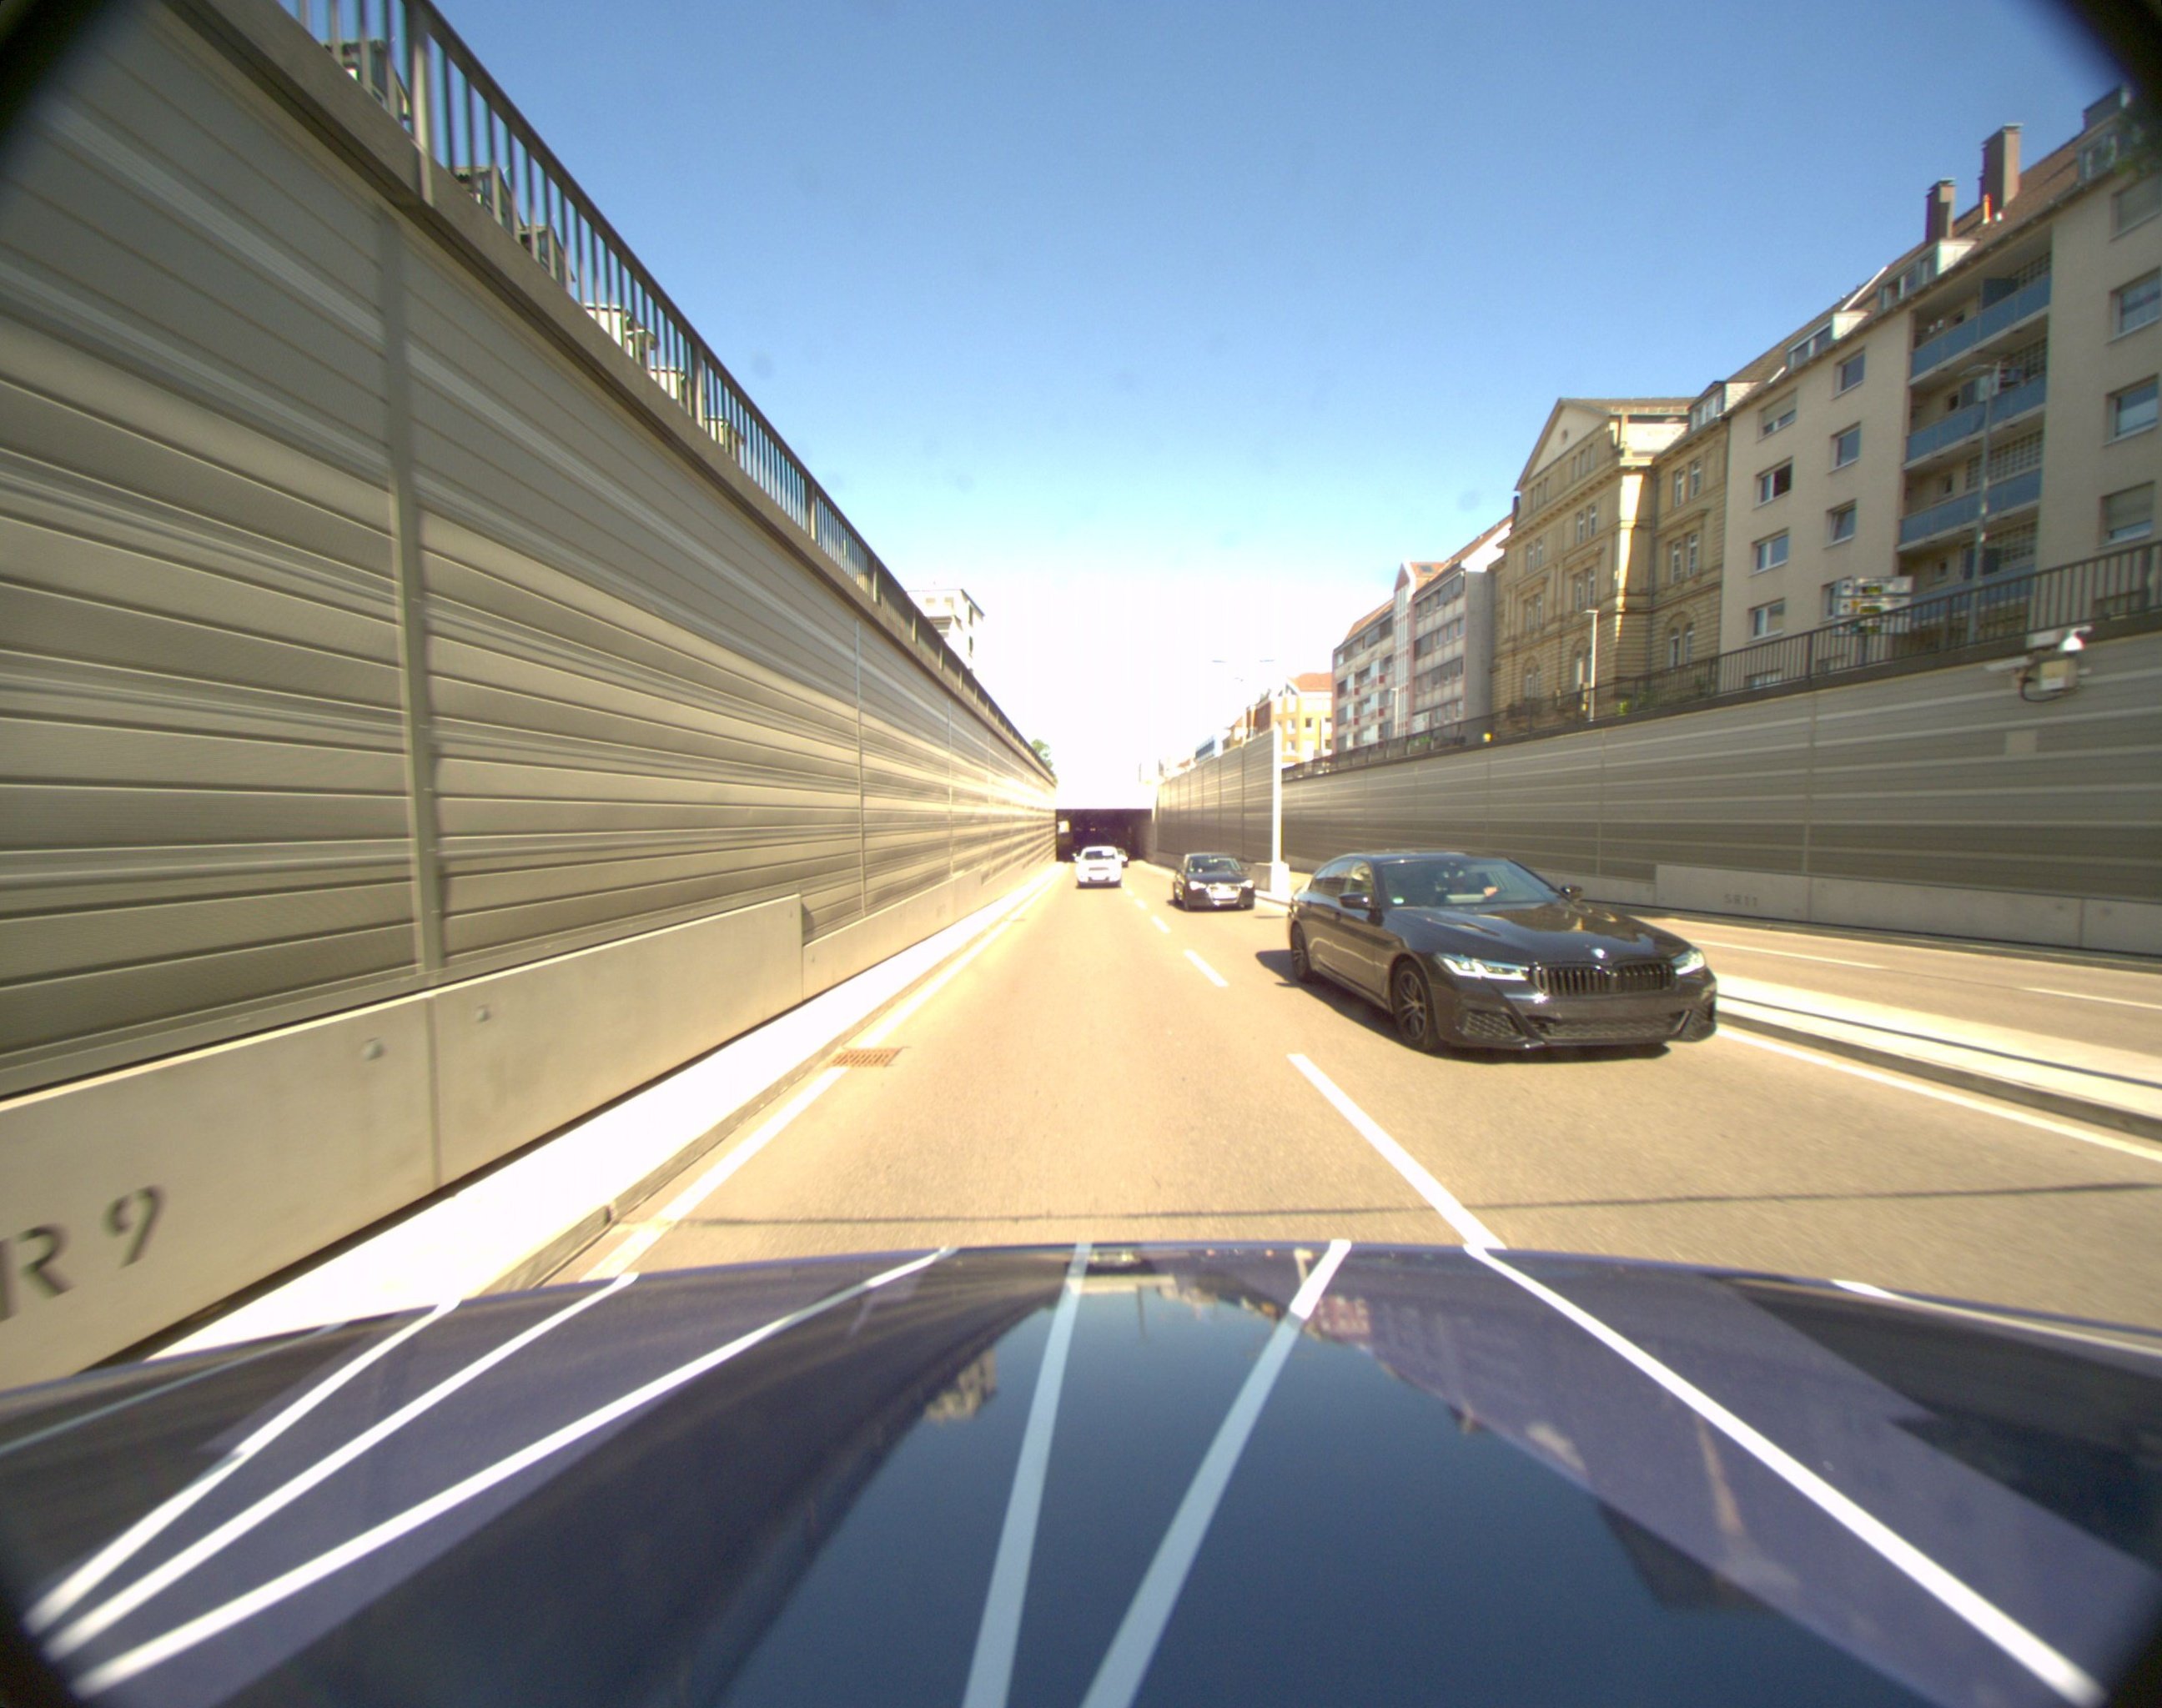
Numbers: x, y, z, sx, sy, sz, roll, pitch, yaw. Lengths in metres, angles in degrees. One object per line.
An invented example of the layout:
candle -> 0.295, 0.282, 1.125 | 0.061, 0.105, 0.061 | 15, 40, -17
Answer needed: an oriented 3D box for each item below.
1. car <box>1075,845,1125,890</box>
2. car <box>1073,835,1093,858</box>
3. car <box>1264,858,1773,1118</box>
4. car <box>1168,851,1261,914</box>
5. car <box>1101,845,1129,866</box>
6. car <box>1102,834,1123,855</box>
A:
car -> 0.750, 0.488, 30.756 | 1.855, 1.658, 3.969 | -1, 1, 1
car -> 0.200, -0.771, 74.447 | 1.785, 2.003, 3.907 | -2, 3, 0
car -> 3.205, 0.810, 7.014 | 1.813, 1.431, 5.001 | -2, 1, 0
car -> 3.358, 0.671, 19.723 | 1.700, 1.410, 3.888 | -2, 1, 0
car -> 2.515, 0.091, 57.142 | 1.998, 1.408, 3.999 | -2, 1, 1
car -> 3.356, -1.052, 81.629 | 1.999, 2.003, 3.998 | -2, 3, -1
